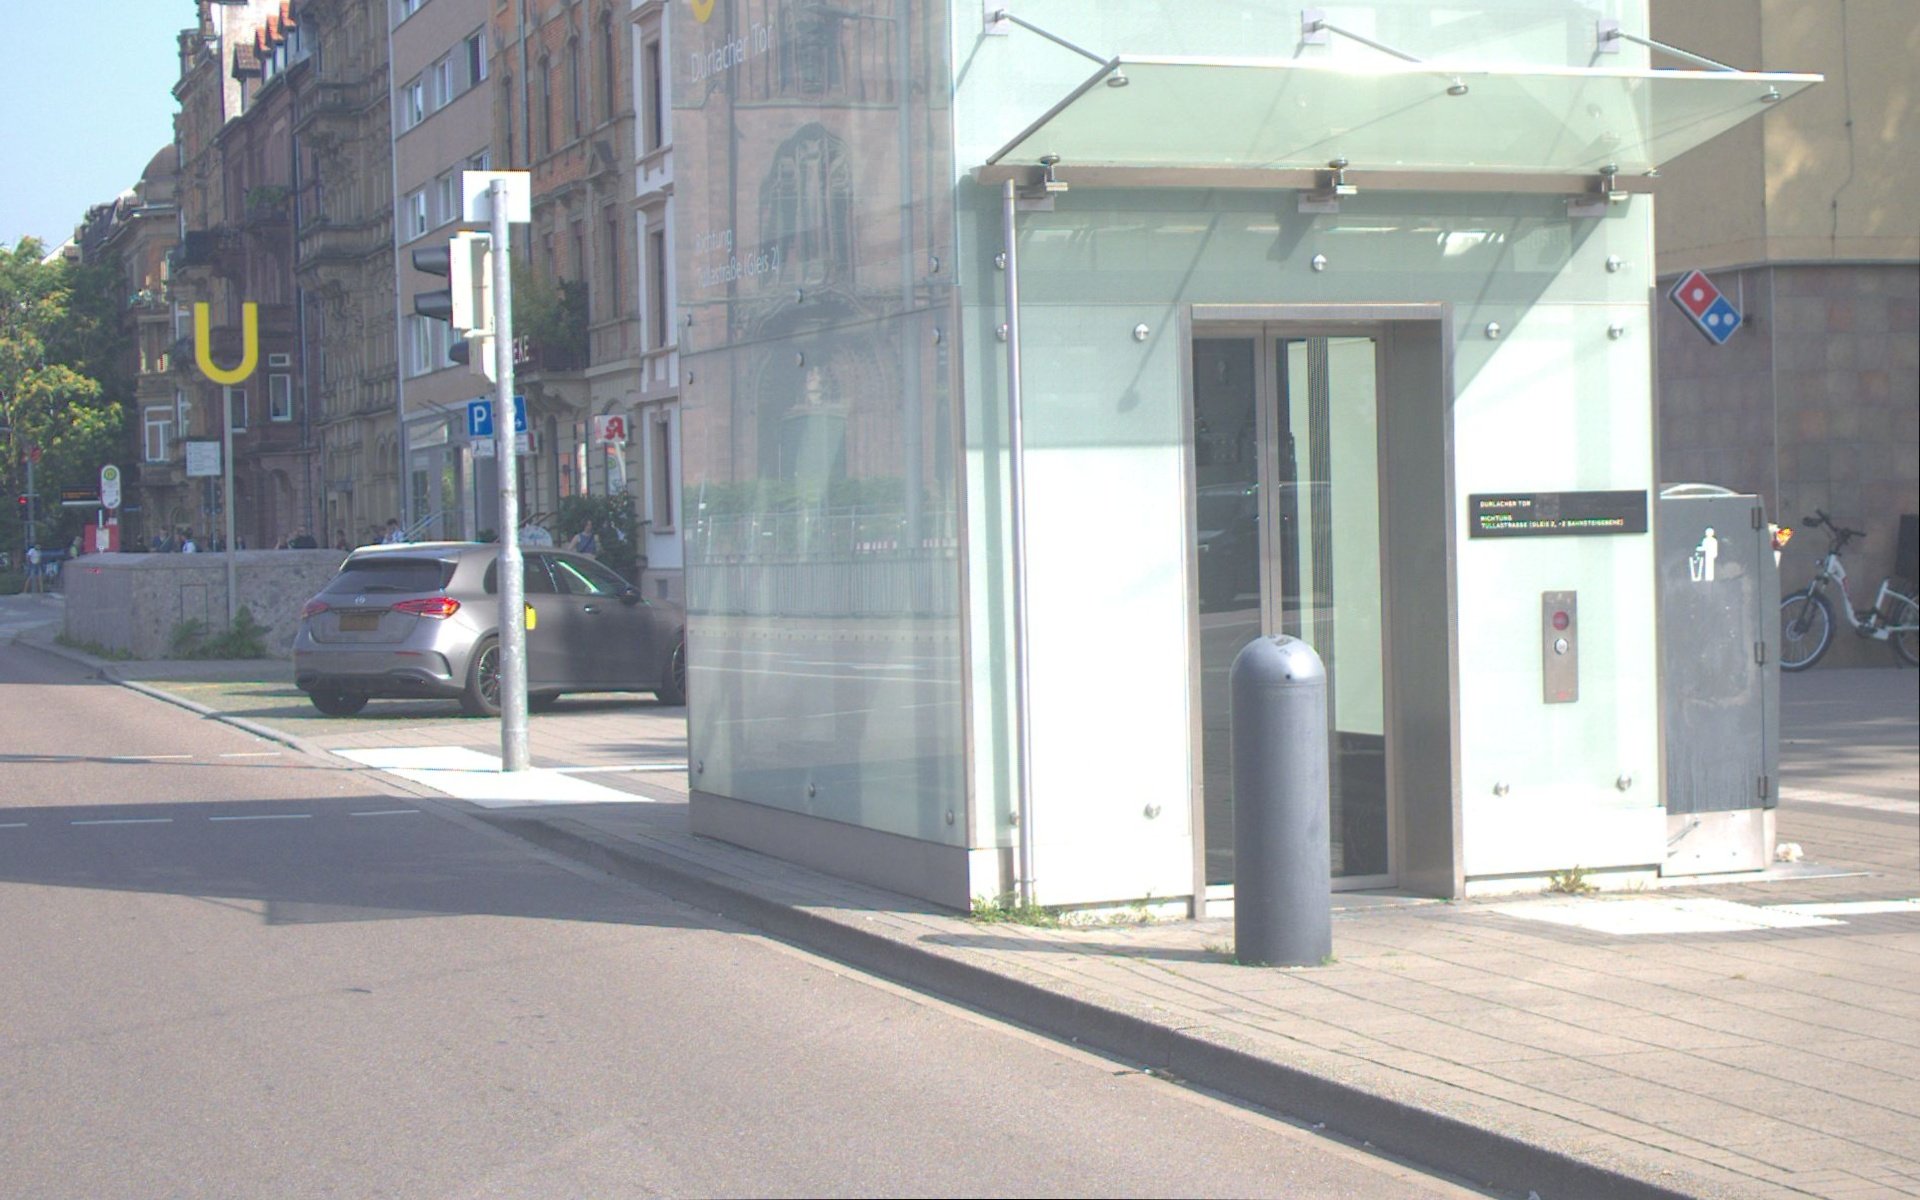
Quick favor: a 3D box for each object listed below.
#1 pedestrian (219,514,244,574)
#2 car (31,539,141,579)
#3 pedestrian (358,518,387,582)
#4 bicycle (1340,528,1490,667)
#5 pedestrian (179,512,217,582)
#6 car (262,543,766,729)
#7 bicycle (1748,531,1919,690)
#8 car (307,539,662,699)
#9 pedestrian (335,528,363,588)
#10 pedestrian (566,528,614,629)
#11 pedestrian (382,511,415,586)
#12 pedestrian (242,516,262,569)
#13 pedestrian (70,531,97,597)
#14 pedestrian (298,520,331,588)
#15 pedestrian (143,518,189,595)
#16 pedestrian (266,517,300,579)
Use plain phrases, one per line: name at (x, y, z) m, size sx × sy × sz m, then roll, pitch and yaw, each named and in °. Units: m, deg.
pedestrian at (-22.272, -1.714, 105.085) m, size 0.616 × 1.798 × 1.072 m, roll -2°, pitch 1°, yaw -17°
car at (-36.766, -1.728, 144.634) m, size 4.179 × 1.558 × 2.001 m, roll -2°, pitch 1°, yaw -23°
pedestrian at (-15.723, -1.349, 91.989) m, size 0.603 × 1.686 × 0.587 m, roll -2°, pitch 1°, yaw -22°
bicycle at (4.262, -0.039, 32.350) m, size 0.602 × 1.257 × 1.849 m, roll -2°, pitch 1°, yaw -19°
pedestrian at (-19.135, -1.330, 86.334) m, size 0.749 × 1.723 × 0.801 m, roll -2°, pitch 1°, yaw -22°
car at (-3.715, 0.257, 29.393) m, size 1.845 × 1.418 × 4.401 m, roll -1°, pitch 1°, yaw 33°
bicycle at (7.383, 0.063, 27.505) m, size 2.016 × 1.202 × 0.671 m, roll -2°, pitch 2°, yaw -18°
car at (-4.618, 0.152, 33.835) m, size 1.620 × 1.459 × 3.523 m, roll -1°, pitch 1°, yaw 30°
pedestrian at (-16.778, -1.153, 94.421) m, size 0.603 × 1.649 × 0.587 m, roll -2°, pitch 1°, yaw -22°
pedestrian at (-6.044, -0.355, 56.151) m, size 0.608 × 1.623 × 0.737 m, roll -2°, pitch 1°, yaw -18°
pedestrian at (-13.926, -1.280, 85.254) m, size 0.603 × 1.825 × 0.742 m, roll -2°, pitch 1°, yaw -22°
pedestrian at (-21.661, -1.753, 105.158) m, size 0.486 × 1.604 × 0.813 m, roll -2°, pitch 1°, yaw -17°
pedestrian at (-23.307, -0.967, 91.406) m, size 0.564 × 1.723 × 0.745 m, roll -2°, pitch 1°, yaw -22°
pedestrian at (-16.930, -1.207, 90.119) m, size 0.720 × 1.781 × 0.856 m, roll -2°, pitch 1°, yaw -17°
pedestrian at (-19.186, -1.054, 83.026) m, size 0.925 × 1.825 × 0.801 m, roll -2°, pitch 1°, yaw -22°
pedestrian at (-17.719, -1.364, 89.975) m, size 0.720 × 1.604 × 0.856 m, roll -2°, pitch 1°, yaw -17°
